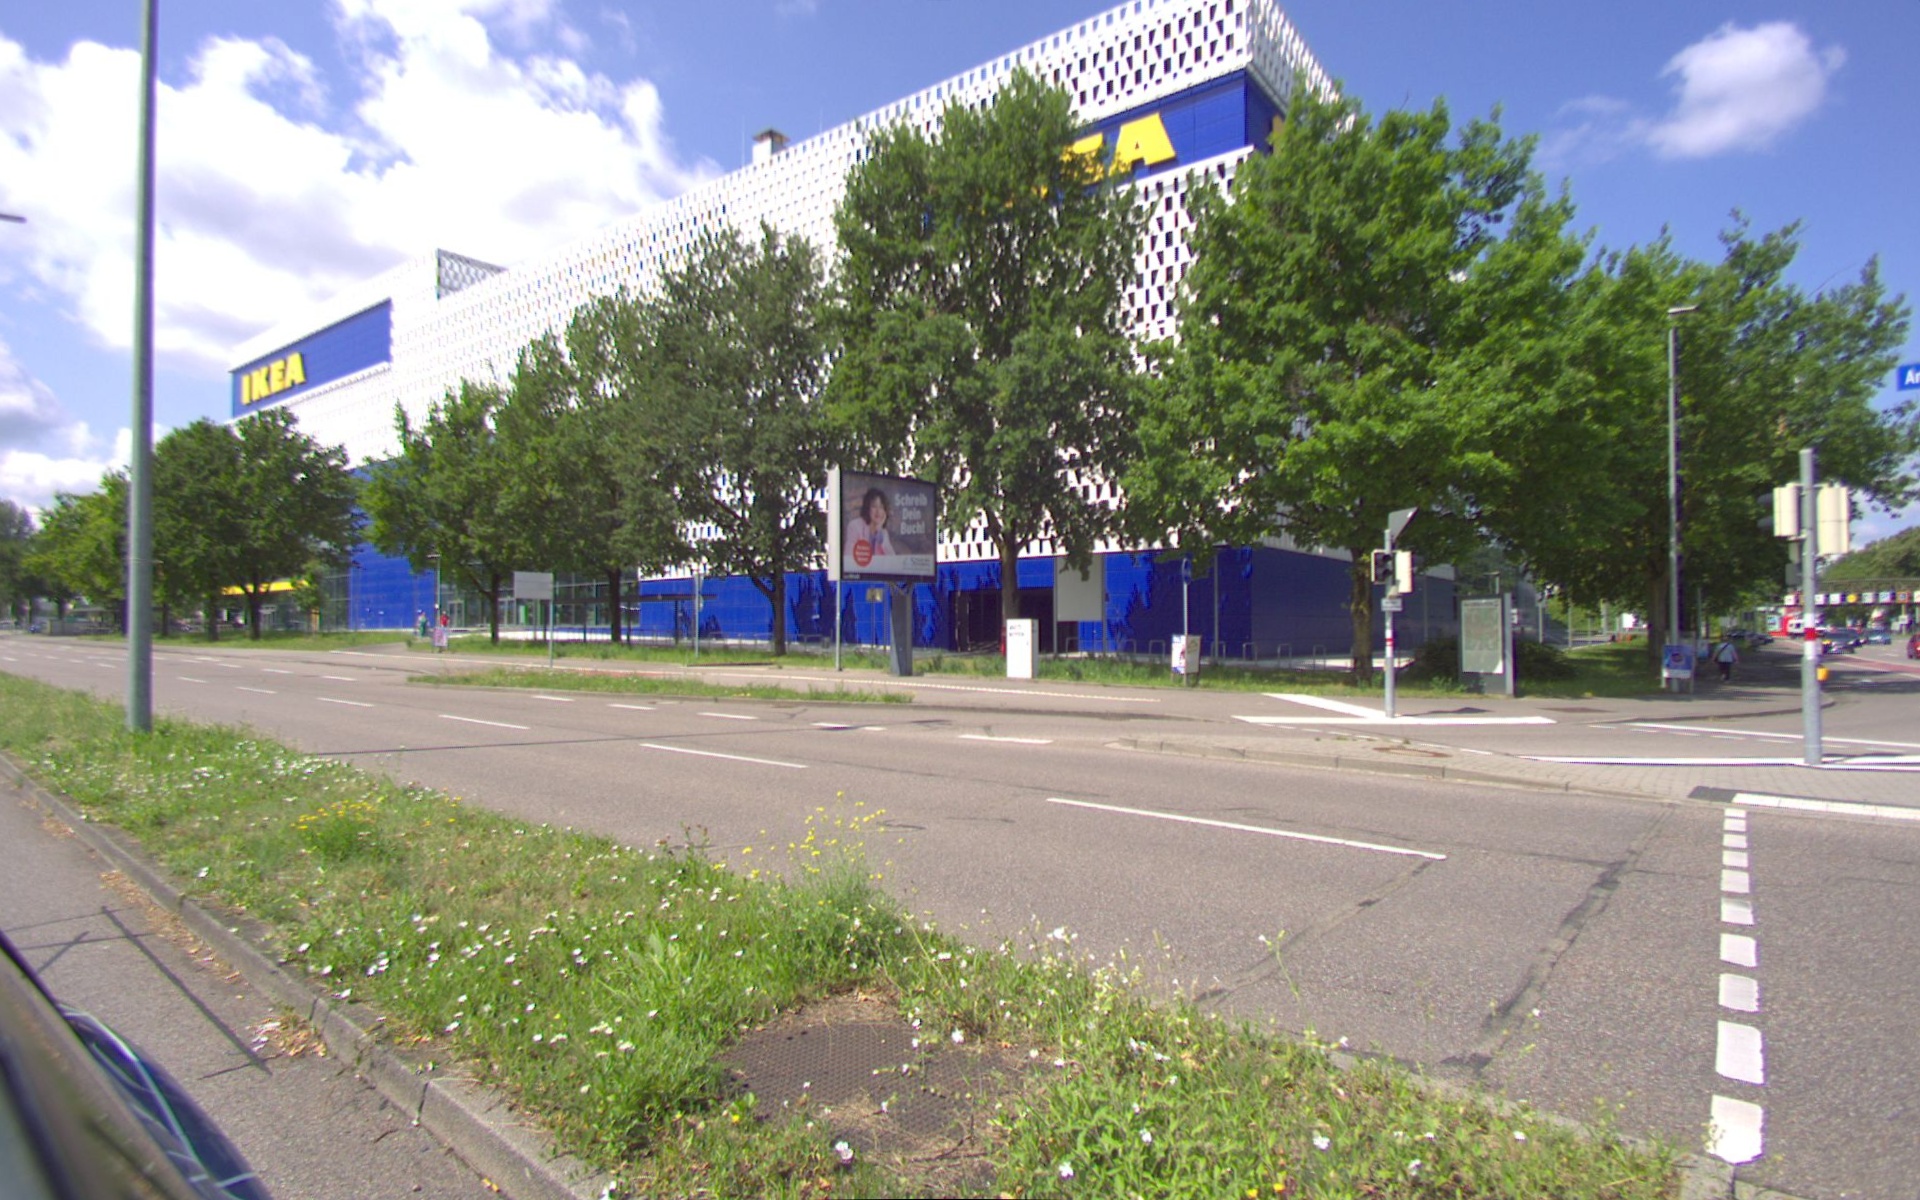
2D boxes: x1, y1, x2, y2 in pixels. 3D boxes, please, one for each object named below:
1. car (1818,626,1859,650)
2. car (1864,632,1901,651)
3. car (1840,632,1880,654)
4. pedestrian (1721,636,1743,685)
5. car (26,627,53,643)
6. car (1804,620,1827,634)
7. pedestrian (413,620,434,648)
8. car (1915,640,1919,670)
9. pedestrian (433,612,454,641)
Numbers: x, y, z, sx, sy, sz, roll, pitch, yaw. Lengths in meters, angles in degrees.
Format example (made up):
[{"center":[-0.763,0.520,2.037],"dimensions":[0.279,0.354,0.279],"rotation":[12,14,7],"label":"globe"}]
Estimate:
[{"center":[59.978,2.596,69.065],"dimensions":[1.897,1.567,4.520],"rotation":[-2,-3,44],"label":"car"},{"center":[84.889,3.798,93.184],"dimensions":[1.930,1.769,4.763],"rotation":[-1,-2,35],"label":"car"},{"center":[76.537,3.632,86.097],"dimensions":[1.930,1.769,4.763],"rotation":[-4,-4,35],"label":"car"},{"center":[25.038,1.964,32.826],"dimensions":[0.503,1.567,0.751],"rotation":[-2,-3,37],"label":"pedestrian"},{"center":[-107.120,4.032,117.711],"dimensions":[3.998,1.696,1.916],"rotation":[0,0,42],"label":"car"},{"center":[114.777,3.603,135.874],"dimensions":[1.930,1.769,4.763],"rotation":[-1,-2,35],"label":"car"},{"center":[-33.423,2.112,63.074],"dimensions":[1.165,1.741,0.842],"rotation":[0,0,43],"label":"pedestrian"},{"center":[53.088,3.031,54.417],"dimensions":[1.845,1.613,4.510],"rotation":[-1,-1,35],"label":"car"},{"center":[-32.591,1.660,63.867],"dimensions":[1.165,1.741,0.842],"rotation":[0,0,43],"label":"pedestrian"}]
